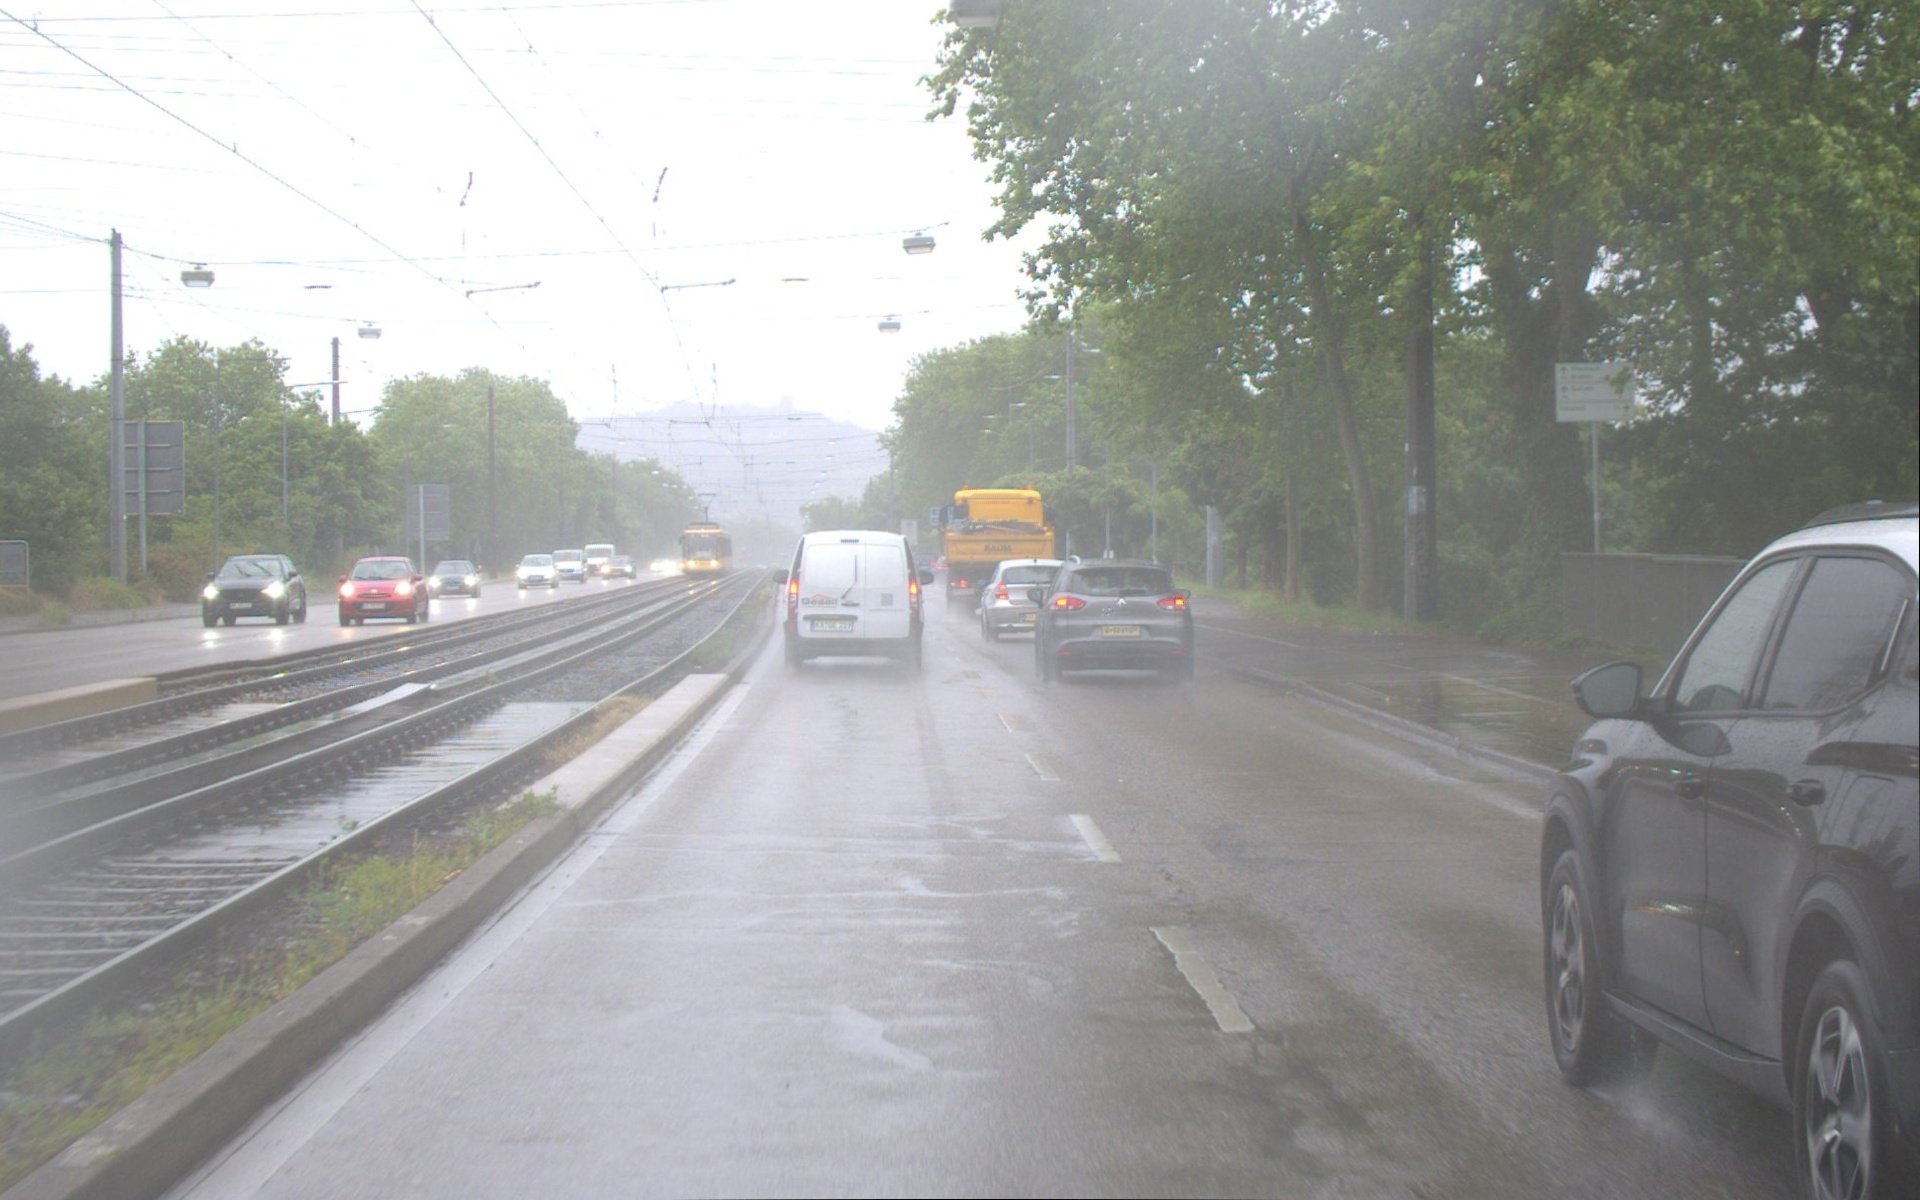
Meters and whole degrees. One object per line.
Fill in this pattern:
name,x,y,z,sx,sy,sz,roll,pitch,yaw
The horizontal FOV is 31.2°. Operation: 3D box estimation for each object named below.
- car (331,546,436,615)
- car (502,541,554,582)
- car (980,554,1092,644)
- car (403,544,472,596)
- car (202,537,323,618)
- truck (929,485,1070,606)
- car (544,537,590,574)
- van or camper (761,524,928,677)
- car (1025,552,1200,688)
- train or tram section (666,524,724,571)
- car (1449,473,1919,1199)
car,-12.926,-0.459,77.258,1.657,1.481,4.013,0,1,0
car,-20.697,-1.872,164.827,1.993,1.897,4.000,1,1,0
car,1.291,-0.045,59.985,1.818,1.409,3.779,1,2,-1
car,-20.126,-1.178,132.533,1.993,1.897,4.000,1,1,0
car,-16.218,-0.554,80.093,1.993,1.809,4.000,0,1,0
truck,0.883,-1.338,82.214,3.112,2.763,6.330,0,1,-1
car,-21.306,-2.421,186.656,1.993,1.897,4.000,1,1,0
van or camper,-1.548,-0.035,44.581,1.993,1.778,4.001,1,2,-4
car,1.732,0.197,40.198,1.818,1.409,3.779,1,2,-1
train or tram section,-17.142,-3.454,223.301,2.850,2.884,14.008,-1,1,-1
car,2.568,0.574,8.190,1.899,1.711,4.726,1,2,-3
